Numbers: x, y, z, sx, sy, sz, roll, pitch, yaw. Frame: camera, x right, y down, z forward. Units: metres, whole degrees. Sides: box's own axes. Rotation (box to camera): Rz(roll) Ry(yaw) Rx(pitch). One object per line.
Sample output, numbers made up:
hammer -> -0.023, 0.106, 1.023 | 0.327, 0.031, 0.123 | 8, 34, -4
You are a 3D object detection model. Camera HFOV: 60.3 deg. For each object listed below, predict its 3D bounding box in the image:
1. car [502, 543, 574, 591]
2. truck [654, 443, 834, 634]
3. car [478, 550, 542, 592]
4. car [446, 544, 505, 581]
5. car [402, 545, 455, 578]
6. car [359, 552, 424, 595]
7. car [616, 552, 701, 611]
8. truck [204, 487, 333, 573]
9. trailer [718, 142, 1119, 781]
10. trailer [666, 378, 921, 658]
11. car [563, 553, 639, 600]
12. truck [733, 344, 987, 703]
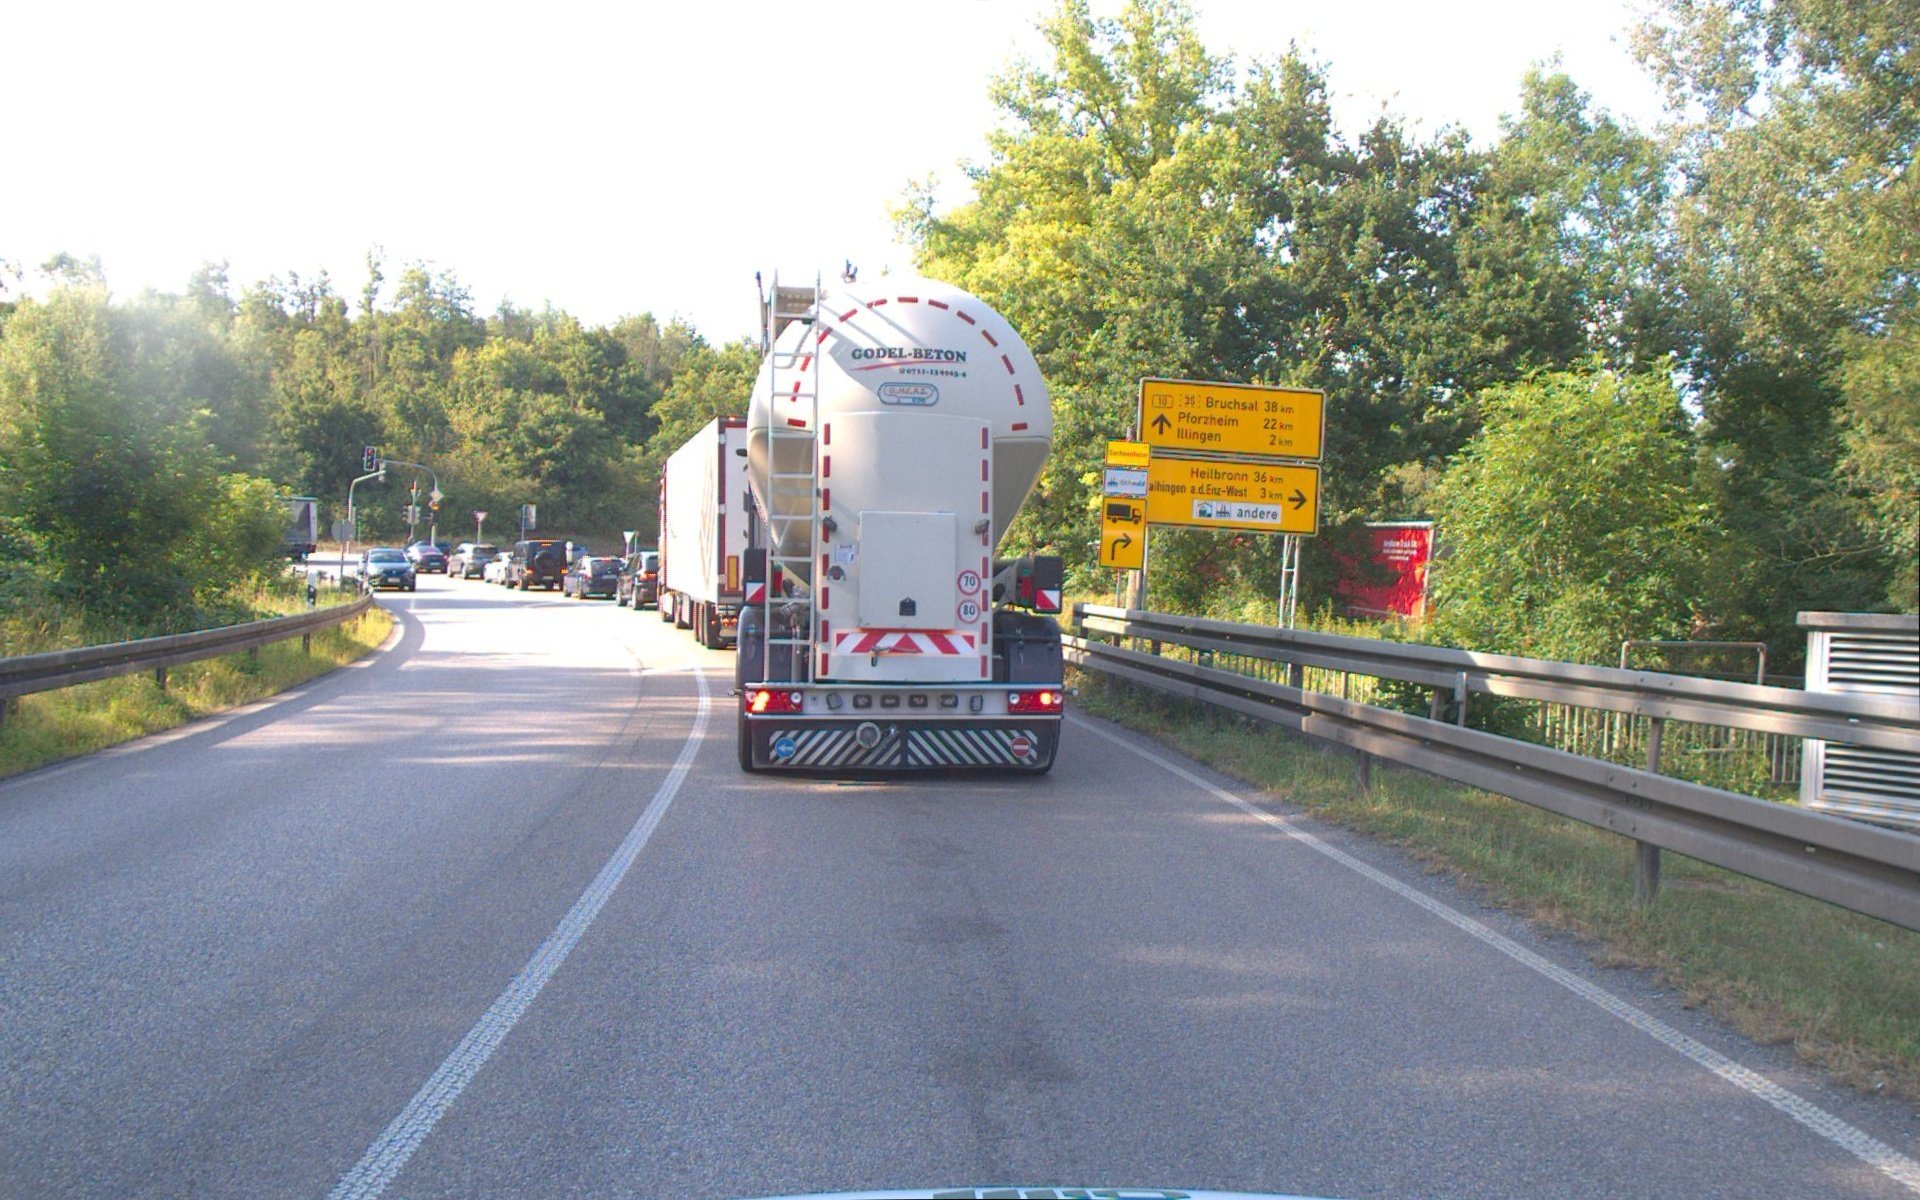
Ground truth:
car -> -17.197, -1.382, 67.319 | 1.935, 1.883, 3.963 | -1, 2, -28
truck -> -5.410, -1.410, 40.333 | 3.394, 4.157, 6.464 | 2, 0, -15
car -> -20.163, -1.326, 74.025 | 1.847, 1.712, 3.962 | 3, 1, -29
car -> -23.458, -1.846, 79.989 | 1.847, 1.622, 3.962 | 3, 1, -29
car -> -28.013, -2.039, 87.105 | 1.848, 1.592, 3.960 | 3, 1, -30
car -> -22.182, -1.058, 64.464 | 1.846, 1.592, 3.965 | 0, 2, -27
car -> -9.216, -0.593, 50.318 | 1.840, 1.656, 3.976 | 2, 0, -20
truck -> -41.396, -4.091, 99.447 | 2.950, 4.664, 10.244 | 3, 1, 2
trailer -> -0.815, -1.032, 16.719 | 2.831, 4.532, 9.592 | 1, 1, -7
trailer -> -3.907, -1.454, 34.279 | 3.485, 4.591, 12.940 | 2, 0, -13
car -> -12.765, -0.870, 58.693 | 1.844, 1.592, 3.969 | -1, 2, -25
truck -> -1.539, -0.905, 22.106 | 2.772, 4.105, 5.882 | 1, 1, -9
